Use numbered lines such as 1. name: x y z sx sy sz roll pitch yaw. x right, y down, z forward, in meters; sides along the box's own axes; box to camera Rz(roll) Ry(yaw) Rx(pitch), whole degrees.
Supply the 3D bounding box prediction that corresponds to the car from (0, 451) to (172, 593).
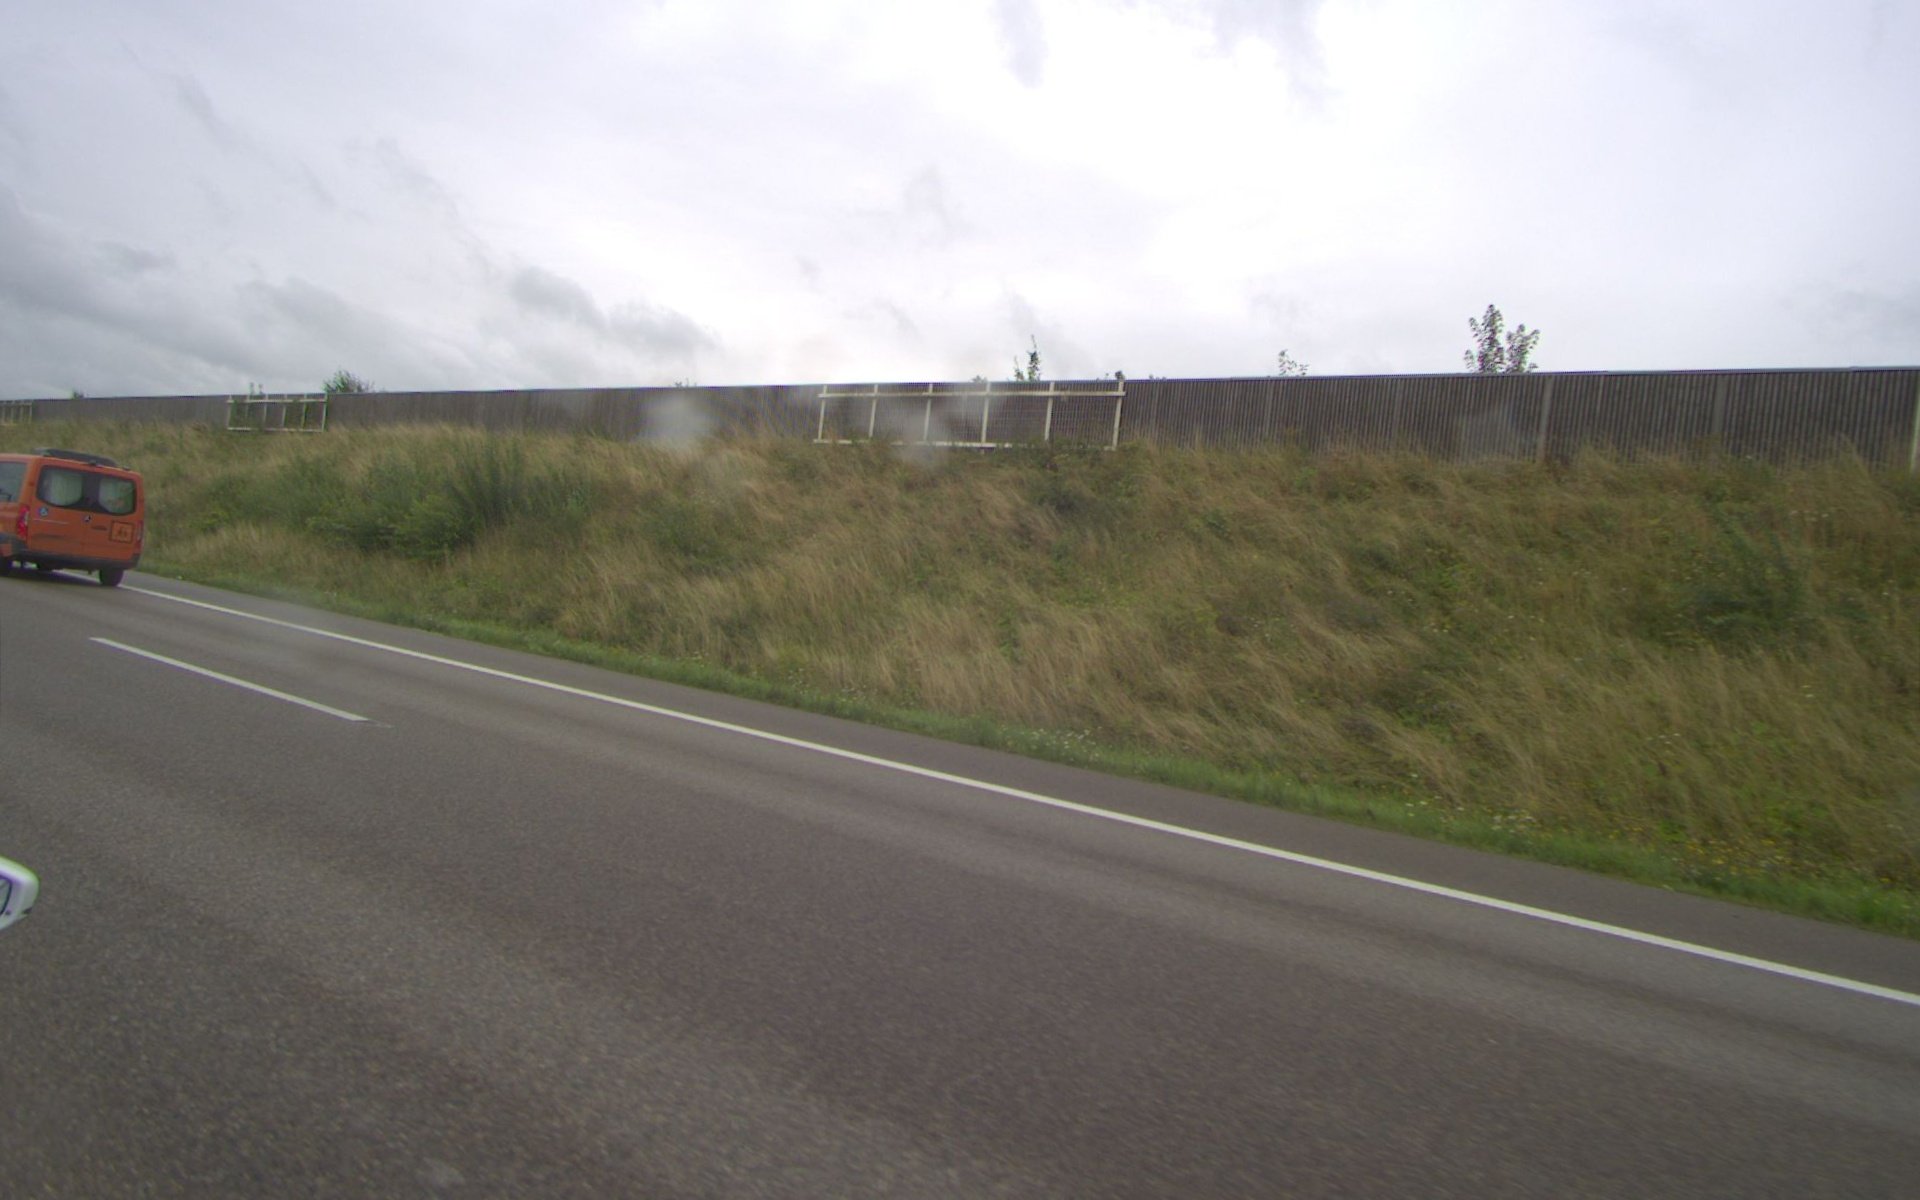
1. car: -18.844 -1.696 20.564 6.077 2.343 2.089 7 0 31
